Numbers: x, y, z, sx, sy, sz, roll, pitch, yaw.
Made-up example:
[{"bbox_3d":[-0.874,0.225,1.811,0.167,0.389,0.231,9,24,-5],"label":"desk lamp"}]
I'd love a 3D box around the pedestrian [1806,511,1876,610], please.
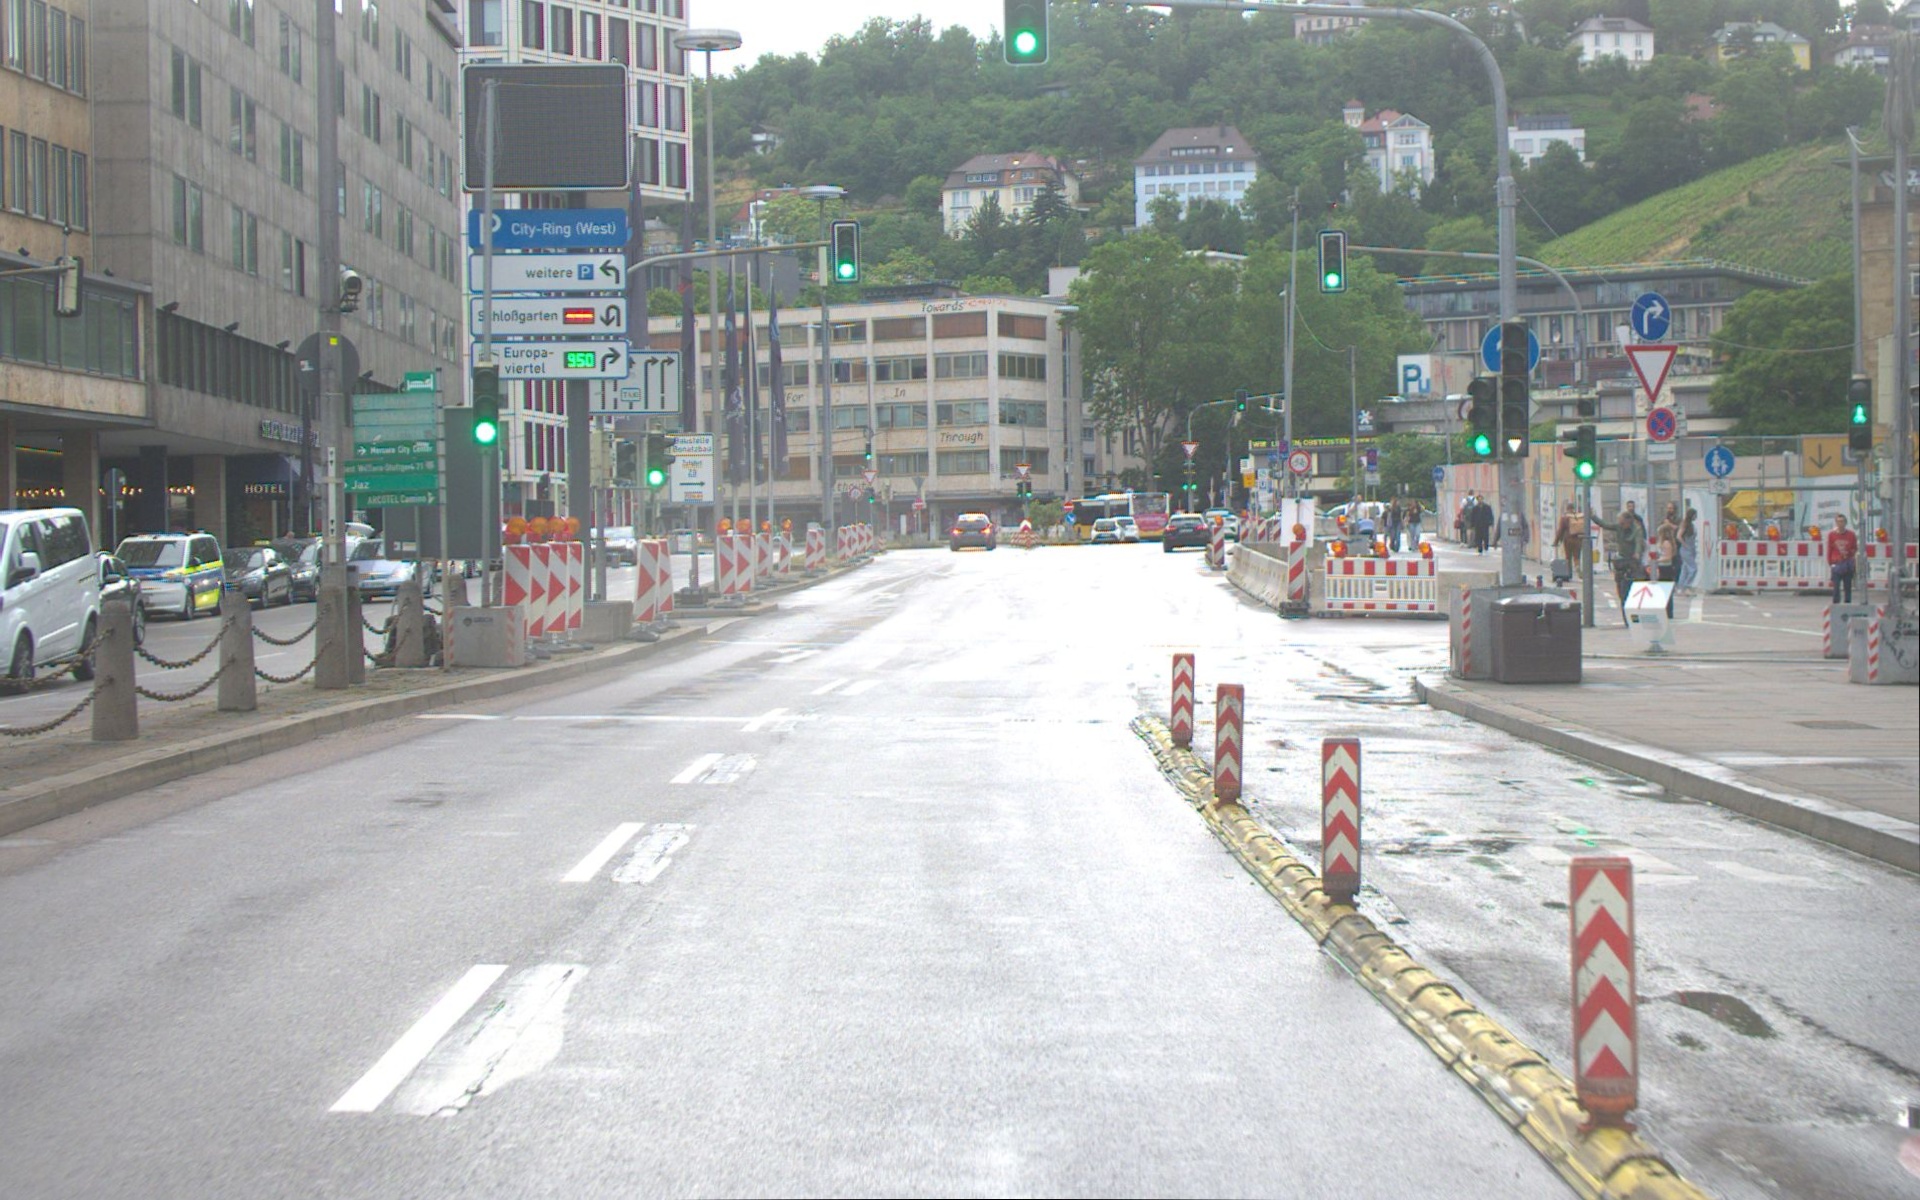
[{"bbox_3d":[14.434,-0.651,56.358,0.767,1.602,0.863,-2,1,-13],"label":"pedestrian"}]

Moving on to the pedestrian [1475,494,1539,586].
[{"bbox_3d":[11.082,-1.212,69.609,0.948,1.835,0.945,-1,1,31],"label":"pedestrian"}]

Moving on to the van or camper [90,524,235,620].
[{"bbox_3d":[-17.630,-0.645,76.218,1.993,2.007,4.965,-1,1,0],"label":"van or camper"}]

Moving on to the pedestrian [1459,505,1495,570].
[{"bbox_3d":[14.794,-1.779,98.384,0.946,1.835,0.867,-1,1,7],"label":"pedestrian"}]

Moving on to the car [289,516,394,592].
[{"bbox_3d":[-17.035,-1.292,94.899,1.993,2.007,4.164,-1,1,2],"label":"car"}]

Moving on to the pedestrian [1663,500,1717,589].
[{"bbox_3d":[13.868,-1.063,65.334,0.864,1.655,0.797,-1,1,4],"label":"pedestrian"}]

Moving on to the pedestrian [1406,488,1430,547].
[{"bbox_3d":[14.353,-2.590,107.655,0.688,1.835,0.614,-1,1,6],"label":"pedestrian"}]

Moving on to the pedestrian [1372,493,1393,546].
[{"bbox_3d":[15.017,-2.863,122.248,0.688,1.835,0.614,-1,1,6],"label":"pedestrian"}]

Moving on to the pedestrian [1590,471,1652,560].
[{"bbox_3d":[13.827,-1.774,71.932,0.867,1.835,0.947,0,1,44],"label":"pedestrian"}]

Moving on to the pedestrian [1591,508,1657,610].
[{"bbox_3d":[10.653,-0.660,55.141,0.796,1.602,0.834,-1,1,30],"label":"pedestrian"}]

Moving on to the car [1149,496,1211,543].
[{"bbox_3d":[8.208,-3.006,128.763,1.993,1.700,4.000,-1,1,0],"label":"car"}]

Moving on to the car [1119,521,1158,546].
[{"bbox_3d":[10.488,-3.931,202.378,1.993,1.437,4.001,1,2,-1],"label":"car"}]

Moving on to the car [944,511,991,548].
[{"bbox_3d":[0.319,-3.093,150.573,1.993,1.546,4.000,-1,1,0],"label":"car"}]

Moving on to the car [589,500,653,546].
[{"bbox_3d":[-13.378,-3.028,135.886,1.993,1.744,4.000,-1,1,2],"label":"car"}]

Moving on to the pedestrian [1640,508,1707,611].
[{"bbox_3d":[11.339,-0.649,54.636,0.796,1.602,0.834,-1,1,30],"label":"pedestrian"}]

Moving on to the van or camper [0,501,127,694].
[{"bbox_3d":[-10.939,-0.056,38.178,1.993,2.007,5.189,-1,1,1],"label":"van or camper"}]

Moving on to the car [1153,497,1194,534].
[{"bbox_3d":[10.202,-4.025,164.156,1.776,1.634,4.000,-2,0,2],"label":"car"}]

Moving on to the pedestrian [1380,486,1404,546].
[{"bbox_3d":[13.537,-2.631,107.731,0.688,1.835,0.614,-1,1,6],"label":"pedestrian"}]

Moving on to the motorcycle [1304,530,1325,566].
[{"bbox_3d":[7.319,-1.074,71.041,0.371,0.719,0.922,1,2,3],"label":"motorcycle"}]

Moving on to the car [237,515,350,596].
[{"bbox_3d":[-17.222,-1.171,88.977,1.993,2.007,4.000,-1,1,2],"label":"car"}]

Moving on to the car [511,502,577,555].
[{"bbox_3d":[-16.470,-2.848,136.362,1.993,2.006,4.000,-1,2,2],"label":"car"}]

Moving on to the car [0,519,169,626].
[{"bbox_3d":[-14.265,-0.456,54.683,1.994,1.611,4.575,-1,1,4],"label":"car"}]

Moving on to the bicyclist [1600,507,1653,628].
[{"bbox_3d":[10.201,-0.503,52.624,0.703,1.838,0.968,0,1,5],"label":"bicyclist"}]

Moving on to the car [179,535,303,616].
[{"bbox_3d":[-17.283,-0.620,82.805,1.993,1.831,4.000,-1,1,2],"label":"car"}]

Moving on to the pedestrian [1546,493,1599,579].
[{"bbox_3d":[13.276,-1.393,74.516,0.946,1.835,0.867,-1,1,-2],"label":"pedestrian"}]

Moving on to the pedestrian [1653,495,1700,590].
[{"bbox_3d":[14.139,-1.139,67.860,0.865,1.835,0.797,-1,1,11],"label":"pedestrian"}]

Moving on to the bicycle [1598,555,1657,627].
[{"bbox_3d":[10.201,-0.150,52.576,0.707,1.046,1.806,0,2,5],"label":"bicycle"}]

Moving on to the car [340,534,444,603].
[{"bbox_3d":[-13.998,-0.794,84.931,1.768,1.603,4.226,-1,1,1],"label":"car"}]

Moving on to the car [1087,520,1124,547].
[{"bbox_3d":[7.961,-3.666,188.939,1.819,1.437,4.000,1,2,0],"label":"car"}]
